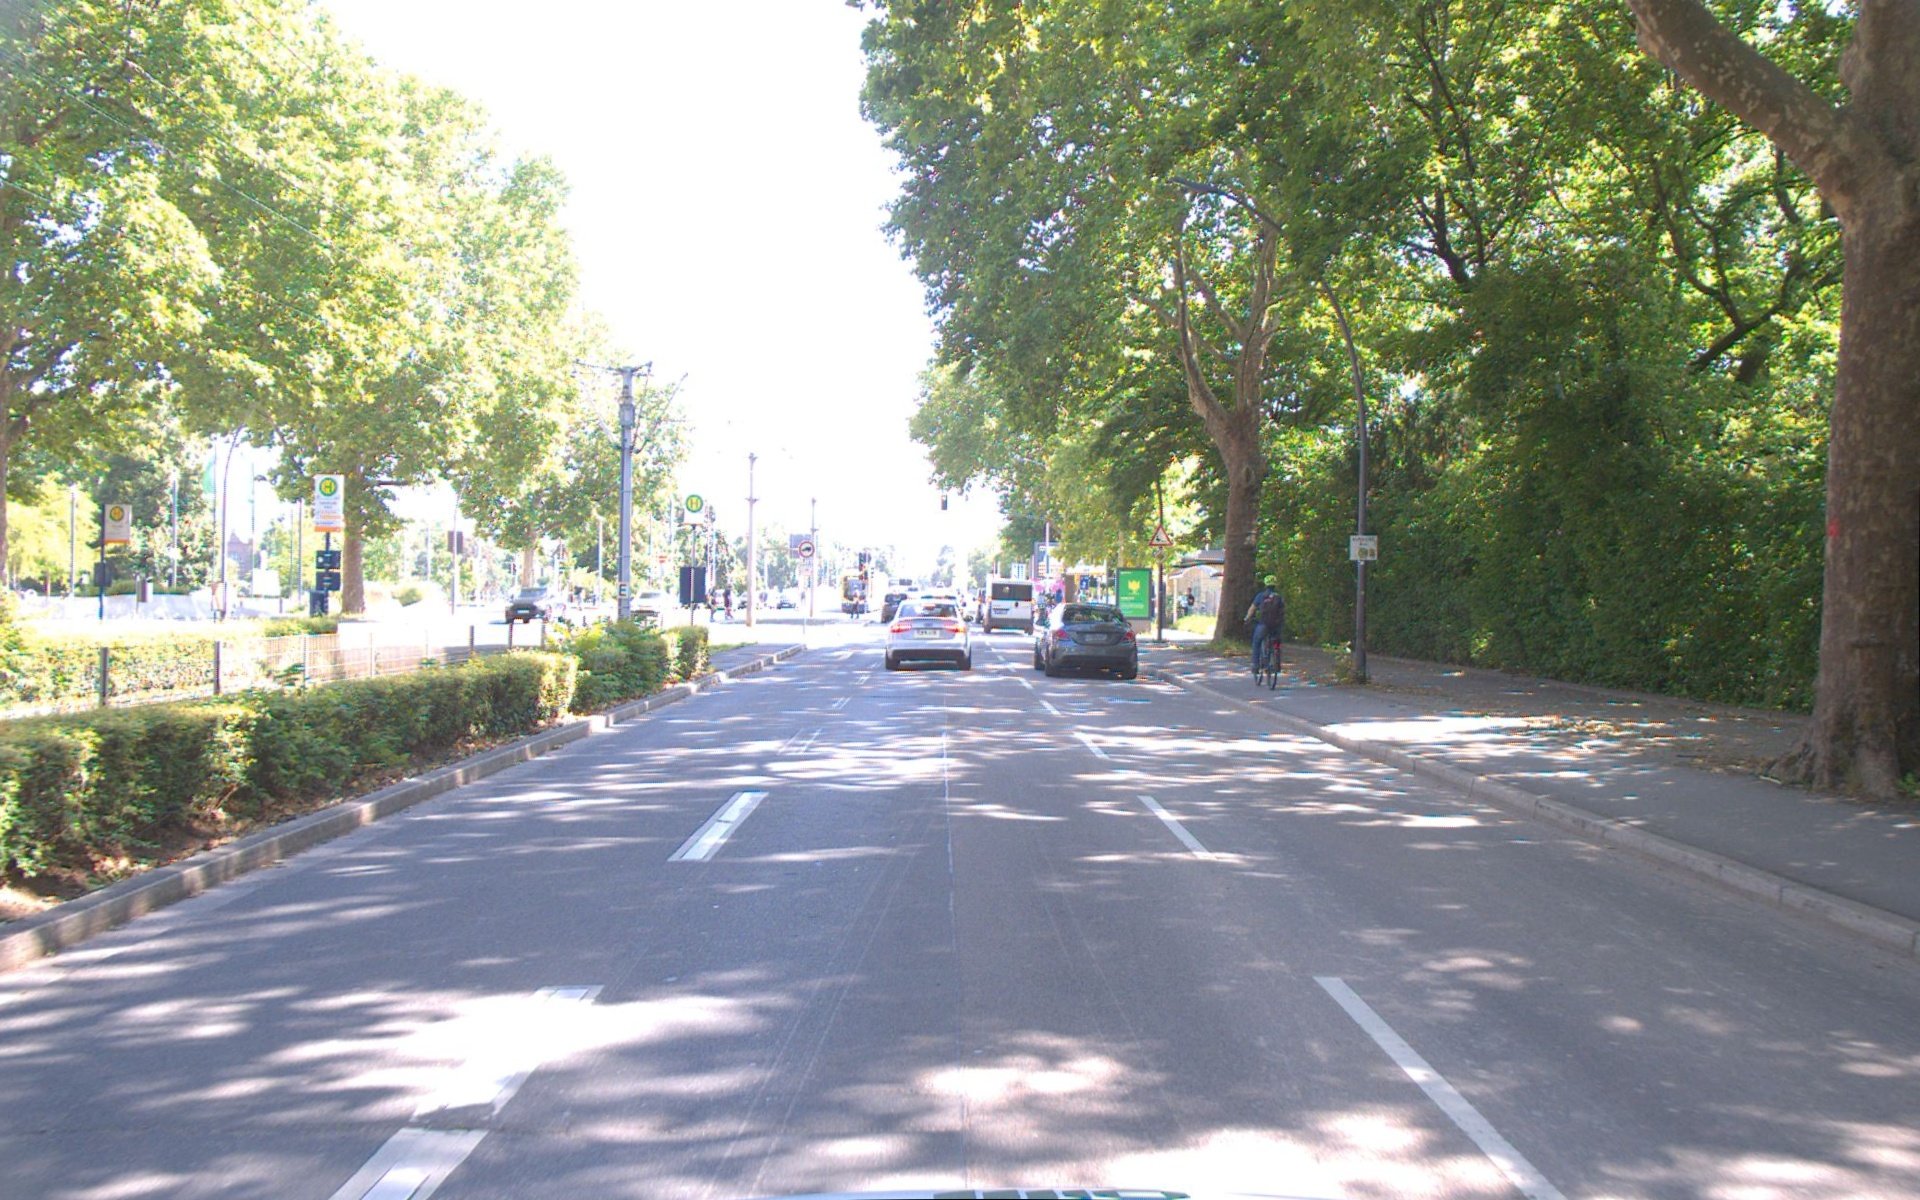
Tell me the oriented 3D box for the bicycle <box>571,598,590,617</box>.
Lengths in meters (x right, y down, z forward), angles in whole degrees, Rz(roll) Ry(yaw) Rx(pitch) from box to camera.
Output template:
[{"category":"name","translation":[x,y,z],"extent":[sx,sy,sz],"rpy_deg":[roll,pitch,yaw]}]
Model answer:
[{"category":"bicycle","translation":[-22.972,0.433,100.132],"extent":[0.653,1.113,1.884],"rpy_deg":[1,0,0]}]

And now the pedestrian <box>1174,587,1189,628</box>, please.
[{"category":"pedestrian","translation":[10.559,0.359,78.939],"extent":[0.601,1.929,0.597],"rpy_deg":[0,0,-4]}]

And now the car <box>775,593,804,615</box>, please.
[{"category":"car","translation":[-14.269,0.336,138.773],"extent":[1.953,1.764,4.000],"rpy_deg":[1,0,0]}]

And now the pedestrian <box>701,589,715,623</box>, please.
[{"category":"pedestrian","translation":[-12.567,0.283,82.439],"extent":[0.580,1.675,0.554],"rpy_deg":[1,0,0]}]

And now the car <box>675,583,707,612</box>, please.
[{"category":"car","translation":[-23.135,-0.204,142.614],"extent":[2.071,2.424,4.000],"rpy_deg":[1,0,0]}]

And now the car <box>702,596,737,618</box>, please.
[{"category":"car","translation":[-16.733,0.479,115.322],"extent":[1.760,1.515,4.385],"rpy_deg":[1,0,0]}]

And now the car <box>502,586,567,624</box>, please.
[{"category":"car","translation":[-19.713,0.230,76.799],"extent":[1.792,1.652,4.895],"rpy_deg":[1,0,-1]}]

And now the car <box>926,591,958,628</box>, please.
[{"category":"car","translation":[-1.004,0.519,92.326],"extent":[1.694,1.935,4.000],"rpy_deg":[1,0,0]}]

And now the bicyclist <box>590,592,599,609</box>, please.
[{"category":"bicyclist","translation":[-29.677,0.048,134.265],"extent":[0.464,1.314,0.496],"rpy_deg":[1,0,28]}]

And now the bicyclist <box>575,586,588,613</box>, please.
[{"category":"bicyclist","translation":[-22.958,-0.021,100.215],"extent":[0.563,1.632,0.838],"rpy_deg":[1,0,0]}]

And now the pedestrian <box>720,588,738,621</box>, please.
[{"category":"pedestrian","translation":[-12.401,0.252,88.939],"extent":[0.758,1.764,0.755],"rpy_deg":[1,0,8]}]

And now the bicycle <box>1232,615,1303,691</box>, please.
[{"category":"bicycle","translation":[5.109,0.858,27.582],"extent":[0.700,1.168,2.178],"rpy_deg":[-2,1,-1]}]

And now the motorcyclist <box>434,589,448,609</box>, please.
[{"category":"motorcyclist","translation":[-34.887,-0.058,111.246],"extent":[0.737,1.337,0.604],"rpy_deg":[1,0,0]}]

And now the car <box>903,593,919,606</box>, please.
[{"category":"car","translation":[-6.277,-0.094,212.890],"extent":[1.832,1.637,4.001],"rpy_deg":[1,0,2]}]

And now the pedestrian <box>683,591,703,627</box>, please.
[{"category":"pedestrian","translation":[-12.525,0.424,77.563],"extent":[0.748,1.651,0.590],"rpy_deg":[1,0,-26]}]

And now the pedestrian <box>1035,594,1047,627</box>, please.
[{"category":"pedestrian","translation":[4.369,0.570,89.428],"extent":[0.590,1.724,0.953],"rpy_deg":[-1,0,0]}]

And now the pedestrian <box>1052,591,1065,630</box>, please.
[{"category":"pedestrian","translation":[5.027,0.549,84.391],"extent":[0.622,1.980,0.719],"rpy_deg":[1,0,0]}]

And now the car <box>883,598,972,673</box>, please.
[{"category":"car","translation":[-0.654,0.705,34.870],"extent":[1.748,1.445,3.884],"rpy_deg":[1,0,0]}]

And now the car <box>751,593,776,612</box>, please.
[{"category":"car","translation":[-17.678,0.214,148.767],"extent":[1.727,1.637,3.860],"rpy_deg":[1,0,0]}]

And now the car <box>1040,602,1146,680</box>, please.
[{"category":"car","translation":[2.609,0.776,33.249],"extent":[1.746,1.445,4.000],"rpy_deg":[1,0,0]}]

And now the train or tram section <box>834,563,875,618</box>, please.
[{"category":"train or tram section","translation":[-8.081,-0.717,127.216],"extent":[2.563,4.085,7.748],"rpy_deg":[1,0,0]}]

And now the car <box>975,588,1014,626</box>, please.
[{"category":"car","translation":[1.926,0.398,93.212],"extent":[2.030,2.034,4.057],"rpy_deg":[1,0,0]}]

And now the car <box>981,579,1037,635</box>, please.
[{"category":"car","translation":[2.034,0.300,69.664],"extent":[2.184,2.250,4.161],"rpy_deg":[1,0,0]}]

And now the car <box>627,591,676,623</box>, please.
[{"category":"car","translation":[-15.909,0.364,85.459],"extent":[1.774,1.590,4.304],"rpy_deg":[1,0,-1]}]

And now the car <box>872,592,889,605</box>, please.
[{"category":"car","translation":[-10.182,-0.183,212.993],"extent":[1.832,1.637,4.001],"rpy_deg":[1,0,2]}]

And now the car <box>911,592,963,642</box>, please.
[{"category":"car","translation":[-0.764,0.563,56.659],"extent":[1.694,1.633,3.884],"rpy_deg":[1,0,0]}]

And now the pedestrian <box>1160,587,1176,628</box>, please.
[{"category":"pedestrian","translation":[9.909,0.354,78.874],"extent":[0.601,1.929,0.694],"rpy_deg":[0,0,-3]}]

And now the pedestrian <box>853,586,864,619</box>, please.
[{"category":"pedestrian","translation":[-6.083,0.154,99.081],"extent":[0.611,1.952,0.689],"rpy_deg":[1,0,0]}]

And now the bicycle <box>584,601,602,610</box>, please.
[{"category":"bicycle","translation":[-29.784,0.451,134.076],"extent":[0.482,0.744,1.619],"rpy_deg":[1,0,28]}]

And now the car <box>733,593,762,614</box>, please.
[{"category":"car","translation":[-17.426,0.268,135.930],"extent":[1.833,1.637,4.000],"rpy_deg":[1,0,0]}]

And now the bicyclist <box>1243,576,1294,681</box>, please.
[{"category":"bicyclist","translation":[5.117,0.455,27.472],"extent":[0.621,1.676,0.979],"rpy_deg":[-2,1,-2]}]

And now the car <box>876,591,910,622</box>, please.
[{"category":"car","translation":[-3.701,0.336,92.027],"extent":[1.694,1.659,4.000],"rpy_deg":[1,0,0]}]
